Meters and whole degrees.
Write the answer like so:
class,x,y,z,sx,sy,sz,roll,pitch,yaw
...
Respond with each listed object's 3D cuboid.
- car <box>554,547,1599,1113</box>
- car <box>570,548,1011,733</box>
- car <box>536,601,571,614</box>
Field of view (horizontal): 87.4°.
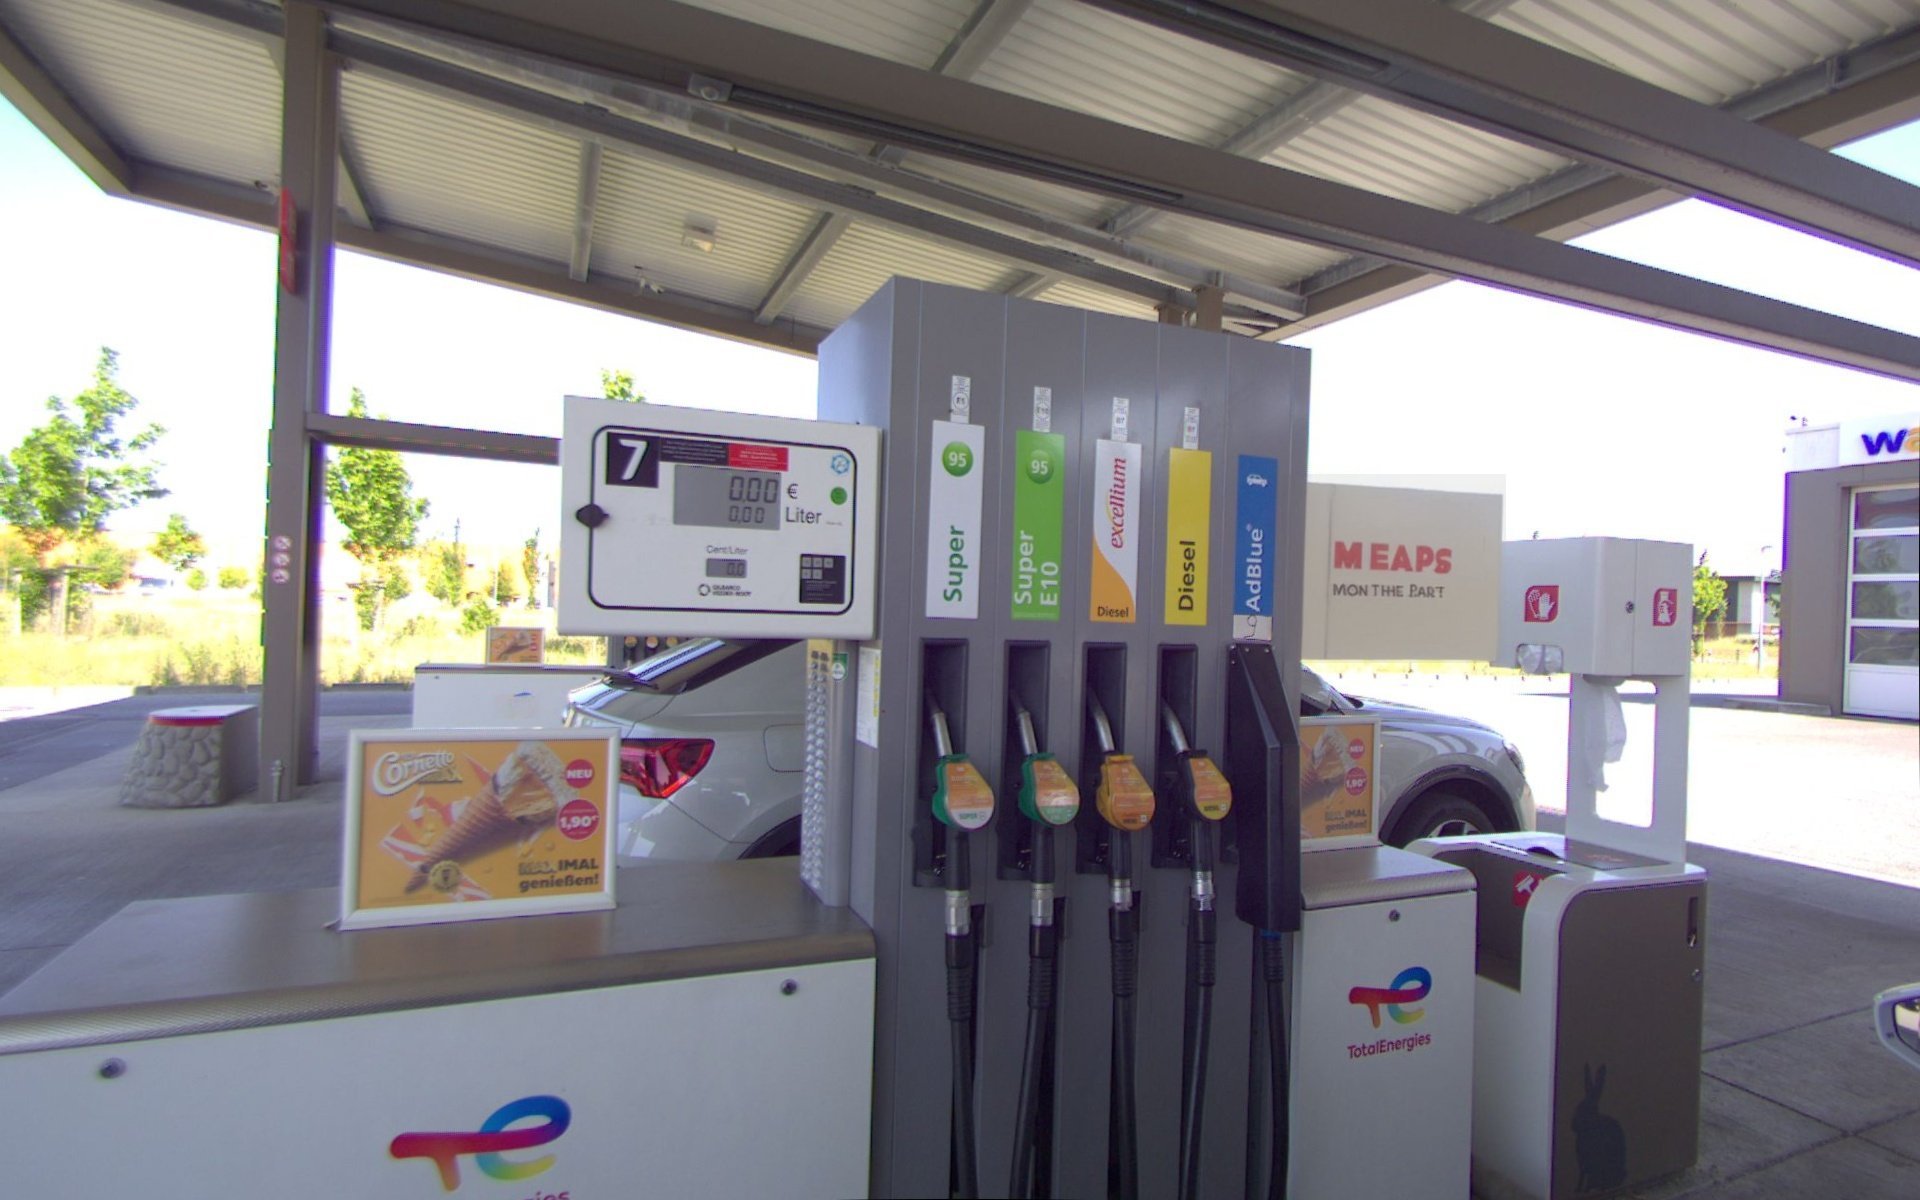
class,x,y,z,sx,sy,sz,roll,pitch,yaw
car,0.525,0.689,4.434,4.264,1.562,1.776,2,0,-23
car,-1.834,0.428,11.143,4.478,1.710,1.852,1,0,-27
car,-52.429,0.956,129.631,4.108,1.490,1.663,2,-1,-22
